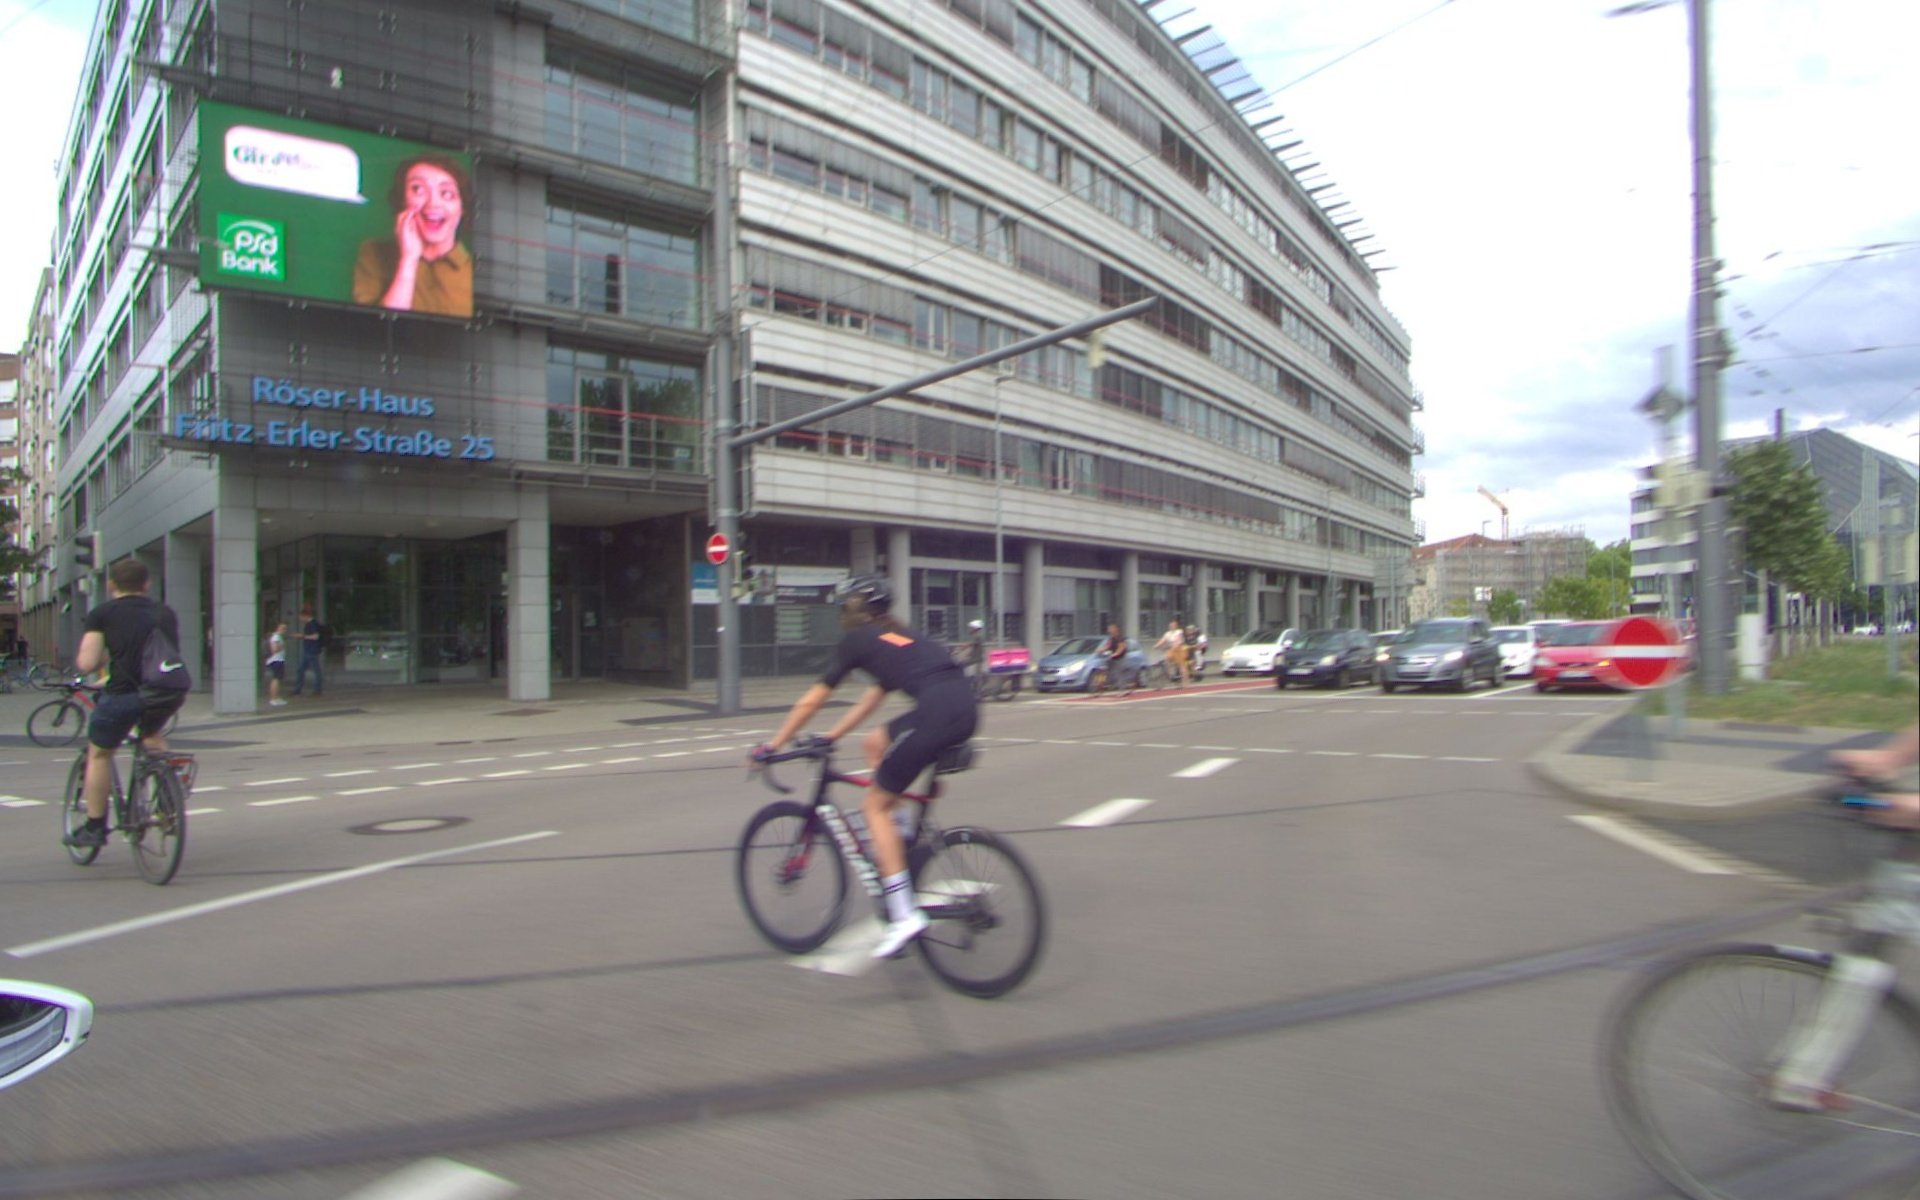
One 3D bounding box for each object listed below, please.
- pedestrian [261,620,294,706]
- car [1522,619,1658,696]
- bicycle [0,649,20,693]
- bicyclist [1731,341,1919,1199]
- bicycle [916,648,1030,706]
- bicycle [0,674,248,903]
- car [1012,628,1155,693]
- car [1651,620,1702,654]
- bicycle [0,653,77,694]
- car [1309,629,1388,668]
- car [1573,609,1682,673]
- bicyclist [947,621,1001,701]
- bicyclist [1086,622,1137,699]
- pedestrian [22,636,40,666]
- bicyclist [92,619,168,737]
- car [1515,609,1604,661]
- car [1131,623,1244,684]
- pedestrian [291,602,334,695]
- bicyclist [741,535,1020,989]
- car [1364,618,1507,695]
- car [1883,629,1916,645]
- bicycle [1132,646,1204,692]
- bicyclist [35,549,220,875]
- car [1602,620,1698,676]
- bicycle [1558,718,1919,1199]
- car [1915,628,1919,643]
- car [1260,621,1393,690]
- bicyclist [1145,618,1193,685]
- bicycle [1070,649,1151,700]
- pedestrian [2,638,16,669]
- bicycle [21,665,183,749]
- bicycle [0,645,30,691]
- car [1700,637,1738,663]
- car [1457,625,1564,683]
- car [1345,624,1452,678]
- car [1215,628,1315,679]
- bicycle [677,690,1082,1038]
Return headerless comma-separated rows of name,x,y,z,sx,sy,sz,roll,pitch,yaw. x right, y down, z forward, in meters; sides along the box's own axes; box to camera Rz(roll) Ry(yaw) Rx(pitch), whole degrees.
pedestrian,-14.216,1.303,20.860,0.549,1.749,0.492,1,0,-35
car,13.247,1.181,20.956,1.803,1.450,3.969,-4,-4,40
bicycle,-25.446,1.847,25.720,0.485,1.153,1.849,-1,-1,26
bicyclist,2.276,0.387,2.053,1.020,1.793,0.588,-1,-1,33
bicycle,0.274,1.687,22.102,2.394,1.153,0.661,-2,-2,-9
bicycle,-5.133,1.052,6.101,2.062,1.153,0.593,-2,-1,33
car,3.292,1.543,26.120,1.803,1.551,3.969,-4,-4,40
car,38.594,1.996,53.906,1.803,1.687,4.377,-4,-4,40
bicycle,-24.460,1.927,26.533,0.416,1.000,1.557,-1,-1,28
car,15.861,1.940,40.811,1.802,1.479,3.969,-2,-2,40
car,16.893,1.037,25.273,1.803,1.450,3.969,-4,-4,40
bicyclist,0.302,1.349,22.120,1.015,1.695,0.661,-2,-3,-9
bicyclist,3.424,1.361,22.619,0.668,1.686,0.973,-5,-4,43
pedestrian,-48.818,2.659,52.611,0.705,1.575,0.791,0,-1,-44
bicyclist,-13.075,1.208,15.800,0.906,1.787,0.714,0,-1,-40
car,19.452,1.143,32.407,1.803,1.551,3.969,-4,-4,40
car,7.222,1.642,31.537,1.803,1.783,3.969,-3,-3,40
pedestrian,-14.537,1.083,22.486,0.666,2.040,0.599,2,1,39
bicyclist,-0.342,0.616,4.230,1.020,1.675,0.588,-1,-1,33
car,10.592,1.228,22.153,1.803,1.551,4.187,-4,-4,40
car,109.312,4.318,116.507,4.111,1.772,1.987,1,-2,-35
bicycle,5.343,1.754,25.648,0.742,1.069,2.203,-5,-4,42
bicyclist,-5.019,0.632,6.031,1.020,1.791,0.588,-1,-1,33
car,19.579,1.348,28.343,1.803,1.450,3.969,-4,-4,40
bicycle,2.304,0.877,2.041,1.832,1.153,0.593,-2,-1,33
car,118.397,4.324,121.933,4.106,1.772,1.990,1,-2,-31
car,9.127,1.341,24.785,1.803,1.552,3.969,-3,-3,40
bicyclist,5.368,1.322,25.701,0.737,1.686,0.973,-5,-4,43
bicycle,3.422,1.662,22.596,0.676,1.069,2.188,-5,-5,42
pedestrian,-49.343,2.779,51.957,0.508,1.575,0.468,0,-1,-44
bicycle,-13.301,1.628,15.604,1.883,1.153,0.720,1,-2,-40
bicycle,-27.331,1.868,27.439,0.646,1.274,2.628,-1,-2,33
car,49.322,3.224,65.020,1.690,1.551,3.969,-4,-4,40
car,15.387,1.495,27.889,1.803,1.479,3.969,-4,-4,40
car,13.116,1.514,29.843,1.803,1.479,3.969,-4,-4,40
car,10.638,1.830,34.757,1.803,1.641,4.135,-3,-3,40
bicycle,-0.389,0.997,4.259,1.710,1.153,0.593,-2,-1,33
